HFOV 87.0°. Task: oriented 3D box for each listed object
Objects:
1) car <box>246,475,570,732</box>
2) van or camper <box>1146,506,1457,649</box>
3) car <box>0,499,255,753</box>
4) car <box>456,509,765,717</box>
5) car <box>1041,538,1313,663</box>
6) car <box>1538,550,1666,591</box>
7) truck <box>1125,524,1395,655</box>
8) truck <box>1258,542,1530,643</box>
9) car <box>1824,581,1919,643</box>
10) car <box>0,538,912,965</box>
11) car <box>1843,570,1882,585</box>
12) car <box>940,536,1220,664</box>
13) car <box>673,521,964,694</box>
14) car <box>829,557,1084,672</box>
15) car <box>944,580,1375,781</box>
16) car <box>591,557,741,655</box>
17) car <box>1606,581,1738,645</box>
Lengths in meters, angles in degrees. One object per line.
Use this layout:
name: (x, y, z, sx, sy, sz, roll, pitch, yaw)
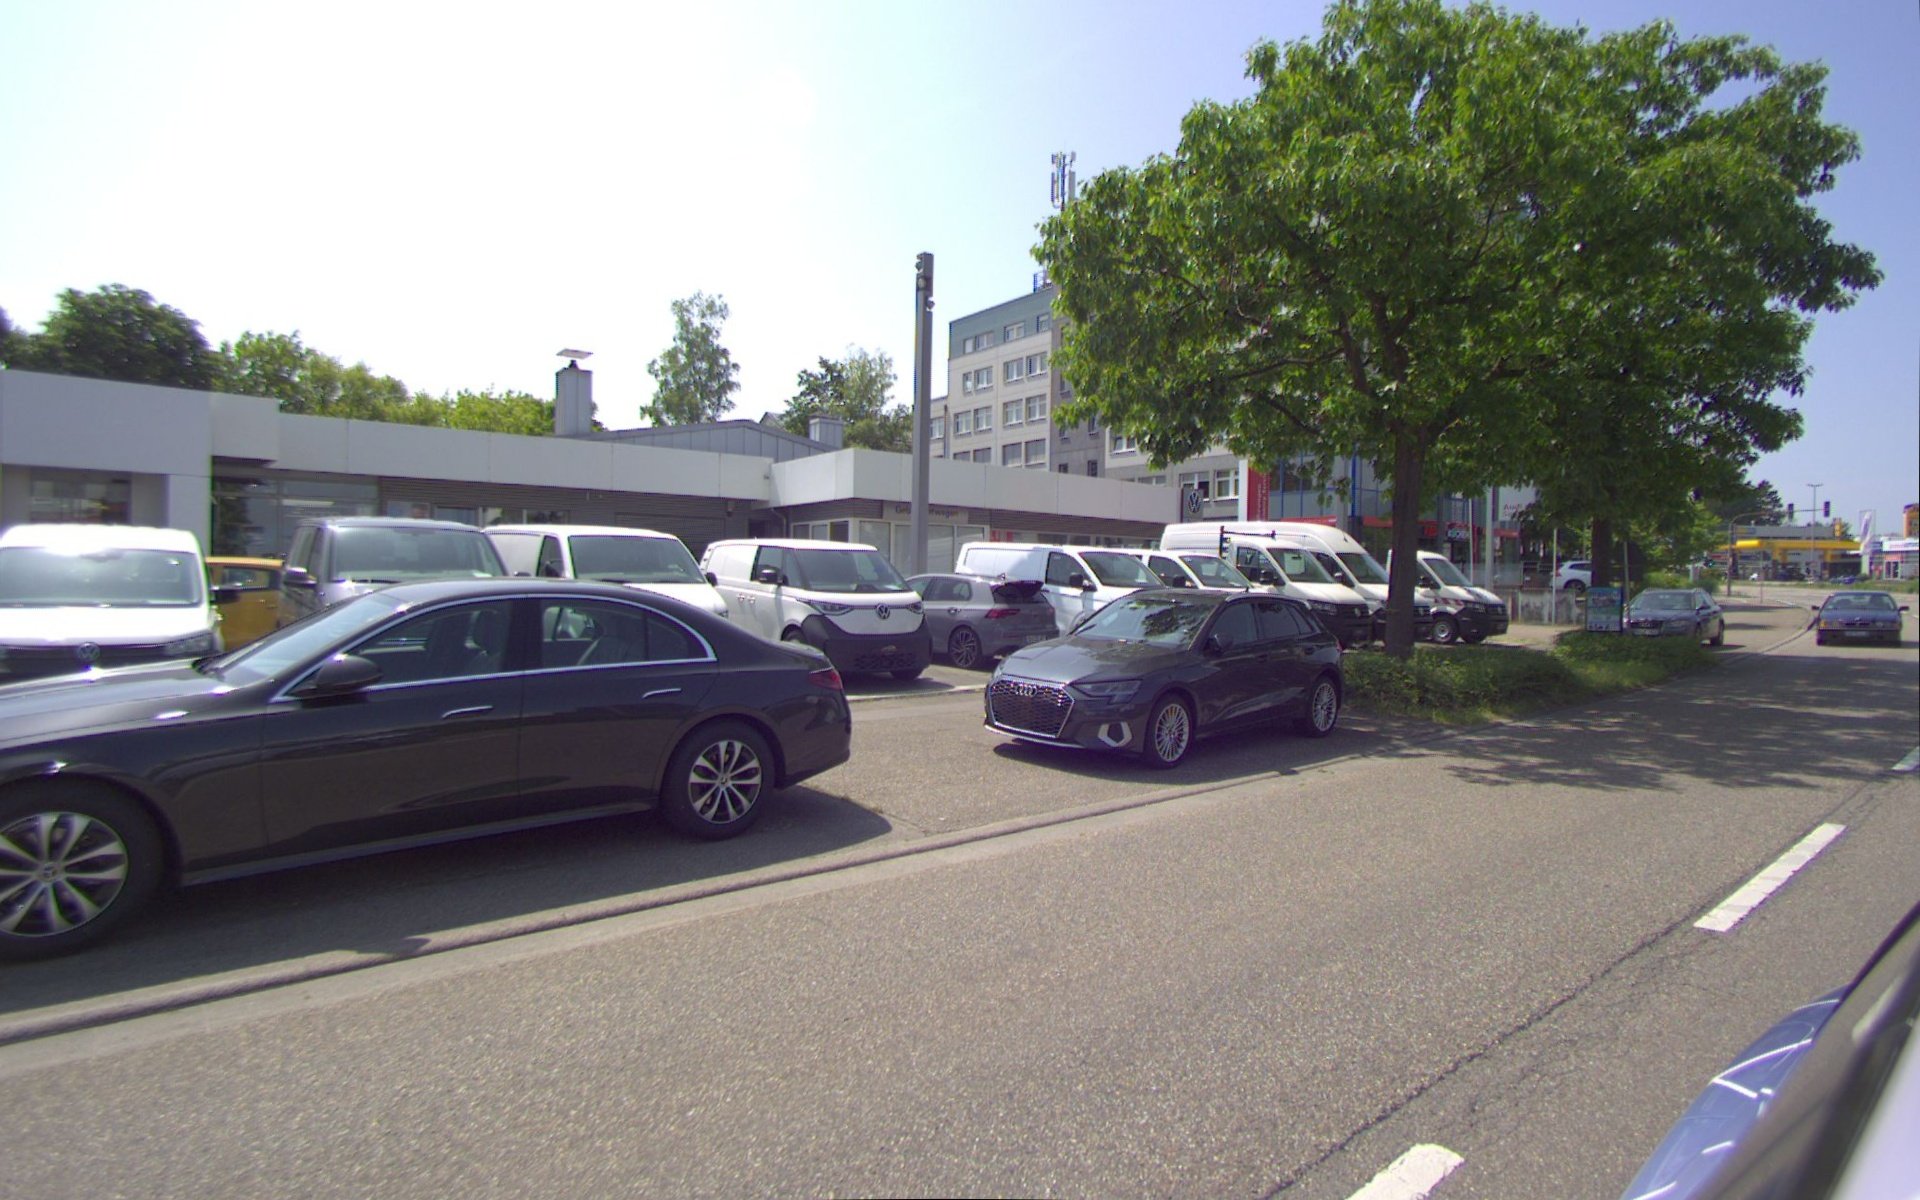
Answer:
car: (-6.178, -0.091, 10.976, 2.092, 2.140, 4.910, 0, 3, -41)
van or camper: (7.838, -0.588, 24.087, 2.235, 2.934, 6.810, 0, 2, -40)
car: (-8.138, 0.080, 9.594, 1.917, 1.874, 4.577, 0, 3, -41)
car: (-4.655, -0.029, 12.905, 2.004, 2.122, 5.076, 0, 4, -40)
car: (4.111, -0.064, 19.901, 2.122, 2.139, 4.957, 0, 2, -41)
car: (29.473, -1.350, 46.635, 4.689, 1.735, 1.984, -1, 1, 25)
truck: (6.227, -0.325, 21.664, 2.073, 2.466, 5.262, 0, 3, -38)
truck: (11.302, -0.314, 26.910, 2.325, 2.365, 6.262, 1, 2, -39)
car: (23.537, 0.243, 26.044, 1.694, 1.390, 3.936, 2, 3, 45)
car: (-2.880, 0.515, 5.626, 5.070, 1.548, 1.965, 0, 4, -41)
car: (88.850, -2.260, 99.722, 1.852, 1.382, 4.304, 3, 3, 28)
car: (1.991, -0.129, 18.298, 2.104, 1.995, 4.924, -1, 3, -40)
car: (-2.218, -0.073, 14.687, 2.159, 2.037, 4.522, -2, 5, -39)
car: (-0.148, 0.160, 16.877, 4.025, 1.488, 1.884, 6, 4, 44)
car: (2.057, 0.555, 9.592, 4.362, 1.453, 1.685, -1, 3, -41)
car: (-7.003, 0.029, 23.789, 2.039, 1.894, 4.527, -1, 5, -35)
car: (17.709, 0.272, 25.107, 4.247, 1.424, 1.800, -1, 1, -42)
